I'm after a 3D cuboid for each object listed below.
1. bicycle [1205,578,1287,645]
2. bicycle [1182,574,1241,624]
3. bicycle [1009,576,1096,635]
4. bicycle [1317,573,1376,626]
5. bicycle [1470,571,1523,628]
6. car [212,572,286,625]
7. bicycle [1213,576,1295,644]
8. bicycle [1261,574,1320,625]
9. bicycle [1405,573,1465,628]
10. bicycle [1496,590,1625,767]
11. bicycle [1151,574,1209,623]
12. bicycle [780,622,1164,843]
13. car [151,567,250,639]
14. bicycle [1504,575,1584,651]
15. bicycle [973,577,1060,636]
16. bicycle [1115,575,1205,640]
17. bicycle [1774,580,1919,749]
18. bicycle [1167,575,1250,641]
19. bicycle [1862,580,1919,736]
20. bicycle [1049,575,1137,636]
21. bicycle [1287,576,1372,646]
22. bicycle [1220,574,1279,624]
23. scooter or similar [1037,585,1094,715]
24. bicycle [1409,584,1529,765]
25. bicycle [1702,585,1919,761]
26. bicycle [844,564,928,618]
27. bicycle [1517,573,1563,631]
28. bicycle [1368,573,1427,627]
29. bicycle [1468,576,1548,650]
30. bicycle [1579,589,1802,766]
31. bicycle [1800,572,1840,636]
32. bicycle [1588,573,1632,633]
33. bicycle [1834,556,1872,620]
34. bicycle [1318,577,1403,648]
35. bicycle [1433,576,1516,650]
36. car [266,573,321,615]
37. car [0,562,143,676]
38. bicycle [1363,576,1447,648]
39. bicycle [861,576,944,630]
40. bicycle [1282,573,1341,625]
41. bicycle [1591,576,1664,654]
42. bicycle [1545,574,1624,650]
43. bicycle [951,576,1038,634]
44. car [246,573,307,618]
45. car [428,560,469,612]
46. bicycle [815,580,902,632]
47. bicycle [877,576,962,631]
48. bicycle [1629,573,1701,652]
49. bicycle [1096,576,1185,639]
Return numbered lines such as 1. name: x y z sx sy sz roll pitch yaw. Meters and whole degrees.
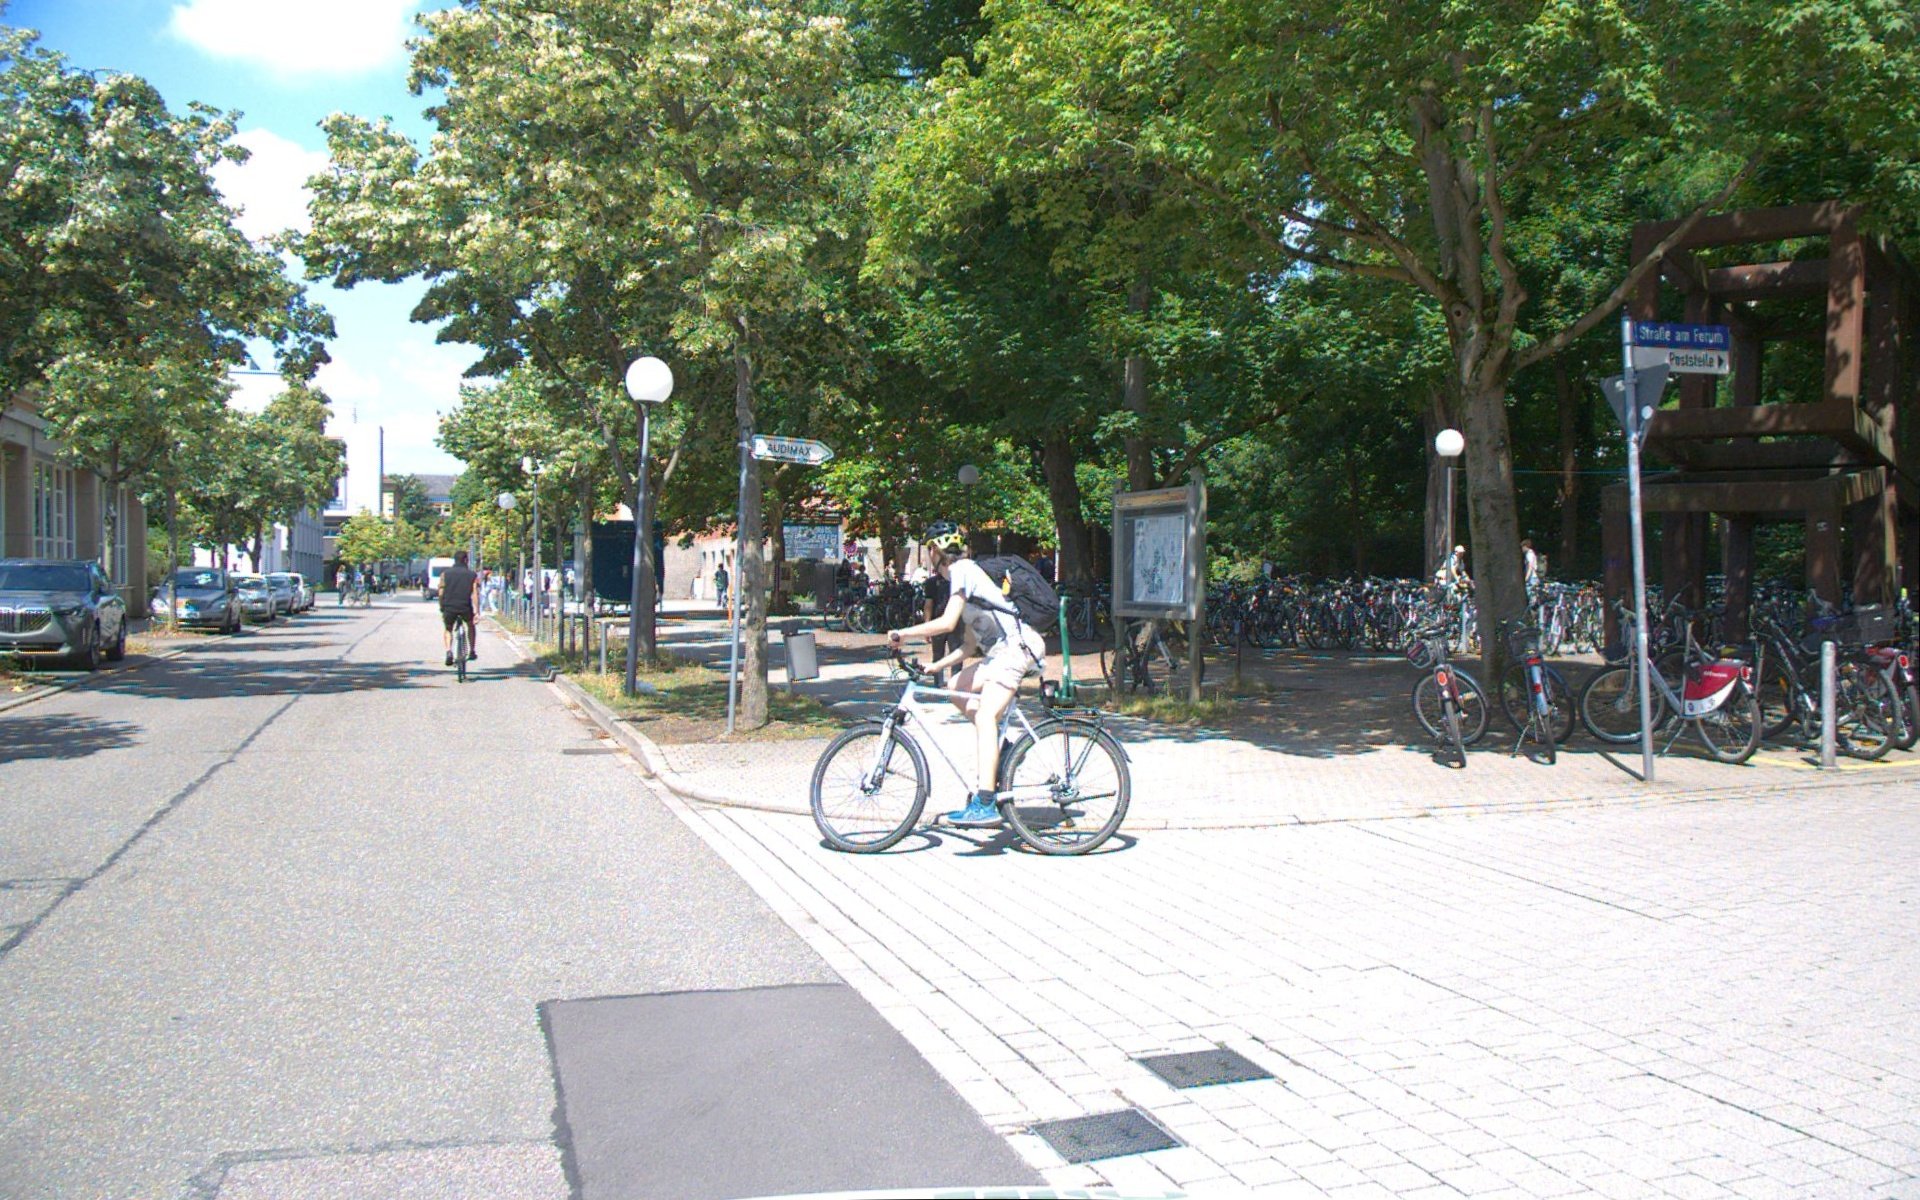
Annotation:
1. bicycle: 5.024 0.179 28.983 0.493 1.127 2.021 2 2 39
2. bicycle: 5.743 -0.043 37.759 0.466 1.102 1.689 2 2 42
3. bicycle: 1.820 0.091 32.308 0.494 1.127 2.016 2 2 44
4. bicycle: 8.329 -0.016 35.600 0.466 1.102 1.689 2 2 42
5. bicycle: 10.799 -0.023 33.270 0.465 1.102 1.692 2 2 38
6. car: -22.206 -0.073 51.758 1.805 1.568 4.513 -1 1 -19
7. bicycle: 5.142 0.157 28.880 0.493 1.127 2.021 2 2 39
8. bicycle: 7.317 -0.023 36.534 0.466 1.102 1.689 2 2 42
9. bicycle: 9.741 -0.001 33.873 0.466 1.102 1.689 2 2 42
10. bicycle: 4.299 0.524 11.932 0.576 1.127 1.748 -1 2 11
11. bicycle: 5.141 -0.050 38.612 0.466 1.102 1.689 2 2 42
12. bicycle: 0.080 0.712 9.080 2.022 1.127 0.605 -1 1 5
13. car: -18.806 0.029 41.129 1.805 1.662 4.513 -1 1 -19
14. bicycle: 9.089 0.177 25.713 0.494 1.127 1.896 2 2 41
15. bicycle: 1.140 0.109 32.772 0.494 1.127 2.016 2 2 44
16. bicycle: 3.659 0.116 30.136 0.494 1.127 2.016 2 2 44
17. bicycle: 6.710 0.431 12.168 0.486 1.127 1.628 -2 1 -6
18. bicycle: 4.442 0.124 29.468 0.493 1.127 2.021 2 2 39
19. bicycle: 7.296 0.436 11.860 0.487 1.127 1.625 0 2 -13
20. bicycle: 2.540 0.089 31.427 0.494 1.127 2.016 2 2 44
21. bicycle: 6.247 0.174 27.873 0.494 1.127 1.994 2 2 41
22. bicycle: 6.482 -0.033 37.001 0.466 1.102 1.689 2 2 42
23. scooter or similar: 1.046 0.470 16.253 0.285 1.215 1.186 0 1 17
24. bicycle: 3.668 0.503 12.023 0.623 1.179 1.631 -1 2 10
25. bicycle: 6.052 0.473 11.719 0.488 1.127 1.622 -2 2 -18
26. bicycle: -1.597 -0.206 35.999 0.494 1.127 2.016 2 2 44
27. bicycle: 11.449 0.024 32.615 0.464 1.102 1.695 2 2 32
28. bicycle: 9.198 -0.005 34.738 0.466 1.102 1.689 2 2 42
29. bicycle: 8.695 0.188 26.219 0.494 1.127 1.896 2 2 41
30. bicycle: 5.131 0.506 11.723 0.488 1.127 1.622 -2 2 -18
31. bicycle: 15.447 0.064 29.700 0.464 1.102 1.695 2 2 32
32. bicycle: 12.552 0.040 31.934 0.464 1.102 1.695 2 2 32
33. bicycle: 15.886 -0.221 29.410 0.464 1.102 1.695 2 2 32
34. bicycle: 6.673 0.186 27.469 0.494 1.127 1.994 2 2 41
35. bicycle: 8.274 0.193 26.546 0.494 1.127 1.994 2 2 41
36. car: -26.466 -0.261 65.779 1.805 1.568 4.513 -1 1 -19
37. car: -14.258 0.236 26.172 1.805 1.645 4.513 1 1 -20
38. bicycle: 7.291 0.179 27.048 0.494 1.127 1.994 2 2 41
39. bicycle: -1.228 0.057 35.644 0.494 1.127 2.016 2 2 44
40. bicycle: 7.656 -0.026 36.009 0.466 1.102 1.689 2 2 42
41. bicycle: 10.130 0.205 25.078 0.493 1.127 1.898 2 2 38
42. bicycle: 9.671 0.162 25.569 0.494 1.127 1.896 2 2 41
43. bicycle: 0.708 0.085 33.219 0.494 1.127 2.016 2 2 44
44. car: -24.824 -0.195 60.194 1.805 1.568 4.513 -1 1 -19
45. car: -31.332 -0.818 101.179 2.228 3.067 5.708 1 0 -19
46. bicycle: -2.252 0.115 36.927 2.009 1.127 0.496 0 2 -38
47. bicycle: -0.843 0.065 35.117 0.494 1.127 2.016 2 2 44
48. bicycle: 10.589 0.172 24.799 0.493 1.127 1.898 2 2 38
49. bicycle: 3.346 0.117 30.575 0.494 1.127 2.016 2 2 44
